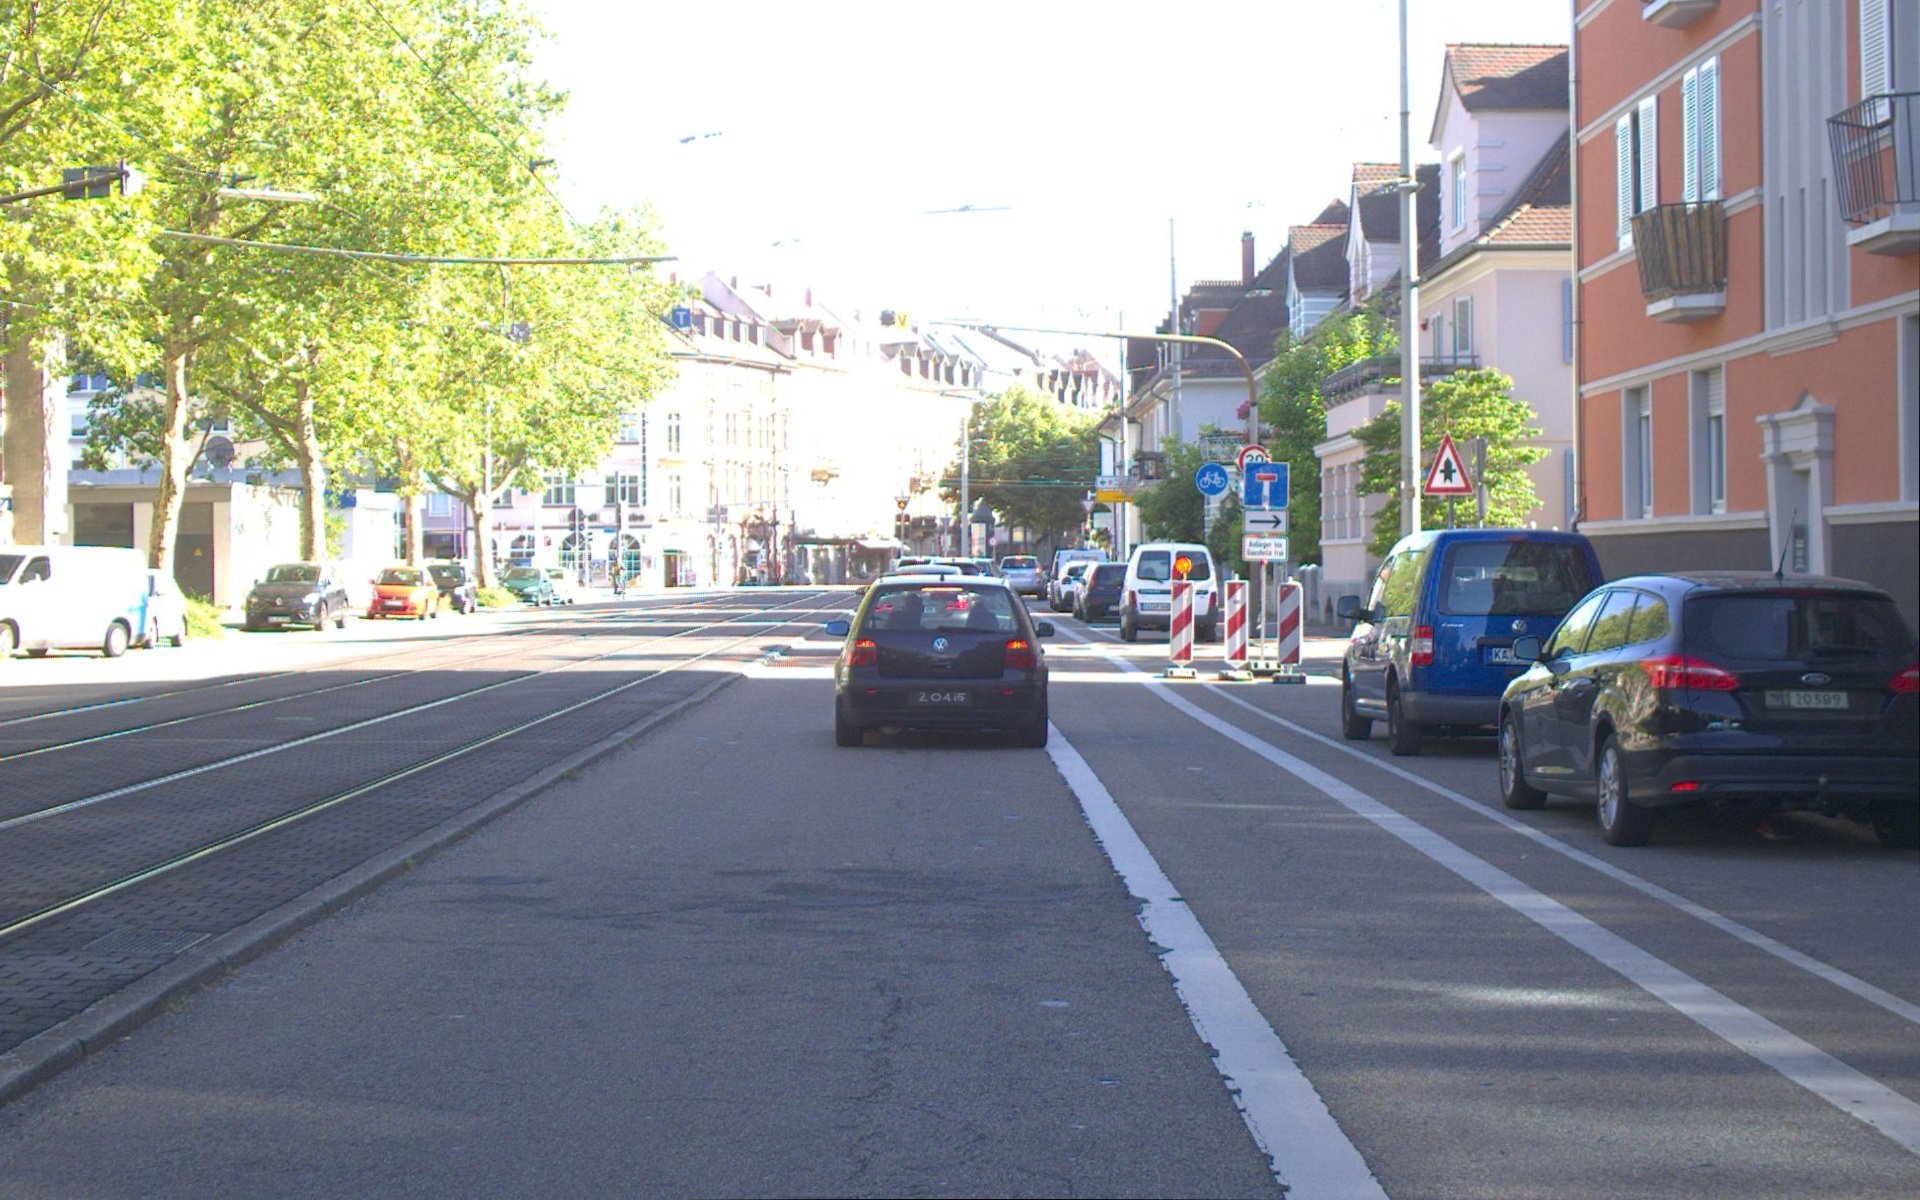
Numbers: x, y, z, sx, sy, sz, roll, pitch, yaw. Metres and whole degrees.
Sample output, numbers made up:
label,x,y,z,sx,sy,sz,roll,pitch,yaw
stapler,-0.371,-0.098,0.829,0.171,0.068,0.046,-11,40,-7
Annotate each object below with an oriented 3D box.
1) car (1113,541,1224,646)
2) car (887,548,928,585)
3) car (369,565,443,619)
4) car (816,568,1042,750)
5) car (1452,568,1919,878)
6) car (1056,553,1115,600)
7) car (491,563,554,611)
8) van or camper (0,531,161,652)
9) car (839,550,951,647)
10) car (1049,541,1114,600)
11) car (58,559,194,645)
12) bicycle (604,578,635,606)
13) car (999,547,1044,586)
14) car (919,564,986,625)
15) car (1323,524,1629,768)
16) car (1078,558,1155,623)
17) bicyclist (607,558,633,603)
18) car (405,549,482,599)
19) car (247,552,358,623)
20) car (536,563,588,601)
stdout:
label,x,y,z,sx,sy,sz,roll,pitch,yaw
car,3.831,-0.150,63.700,1.759,1.831,3.548,2,1,0
car,-2.224,-1.436,146.131,1.636,1.467,3.729,-2,1,0
car,-15.914,-0.219,98.852,1.570,1.528,3.572,0,0,0
car,-0.298,0.439,28.652,1.748,1.370,4.000,0,1,-2
car,4.184,0.610,19.899,1.753,1.506,4.763,2,1,-3
car,3.678,-0.699,101.254,1.580,1.370,4.000,0,1,0
car,-16.240,-0.508,127.622,1.883,1.663,3.805,2,1,-1
van or camper,-15.848,-0.178,58.046,2.062,1.943,5.184,2,1,20
car,-1.037,-0.054,56.498,1.748,1.532,3.892,0,1,0
car,3.731,-0.922,106.075,1.817,1.793,4.000,0,1,0
car,-15.850,0.016,65.510,1.574,1.502,4.090,2,1,0
bicycle,-13.902,-0.344,140.379,0.914,1.079,3.203,2,1,0
car,2.309,-1.276,130.169,1.636,1.467,3.729,0,1,0
car,-0.195,-0.158,85.637,1.636,1.467,3.729,0,1,0
car,4.155,0.321,28.318,1.702,1.804,4.272,2,1,-2
car,3.771,-0.252,83.462,1.661,1.520,4.036,0,1,0
bicyclist,-13.865,-0.795,140.272,0.914,1.827,0.960,2,1,0
car,-16.241,-0.826,108.269,1.792,1.460,3.836,3,1,0
car,-15.699,-0.324,82.244,1.888,1.660,4.000,0,1,0
car,-15.492,-0.715,133.889,1.636,1.467,3.729,0,1,0
